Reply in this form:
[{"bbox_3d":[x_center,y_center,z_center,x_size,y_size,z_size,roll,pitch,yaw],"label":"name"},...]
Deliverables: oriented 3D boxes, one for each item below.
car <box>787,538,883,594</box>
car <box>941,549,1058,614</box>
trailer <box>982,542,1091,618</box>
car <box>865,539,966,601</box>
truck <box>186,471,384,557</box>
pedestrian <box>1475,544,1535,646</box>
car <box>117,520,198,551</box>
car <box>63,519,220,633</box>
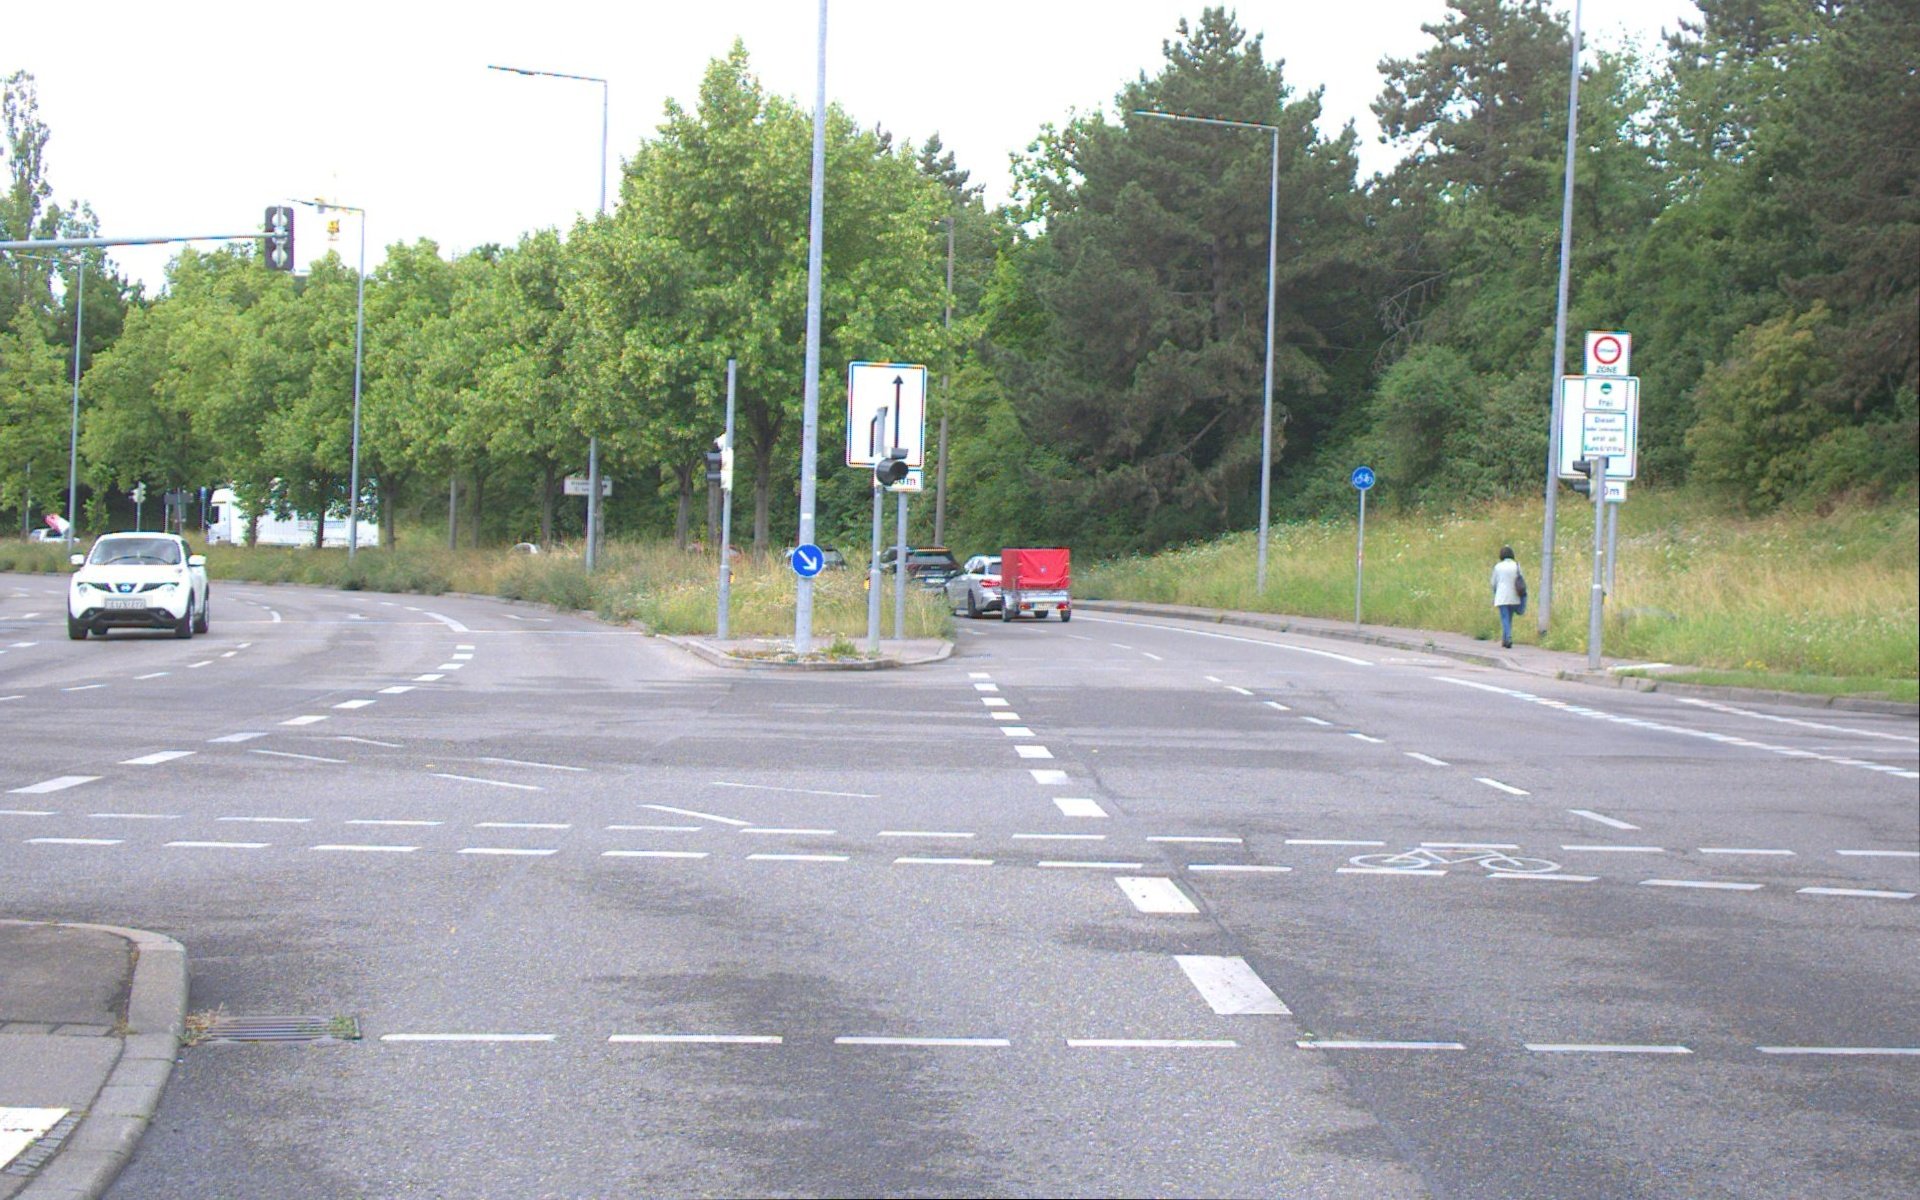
[{"bbox_3d":[-3.667,-1.004,99.948,1.777,1.541,4.026,0,1,-17],"label":"car"},{"bbox_3d":[0.885,-0.443,80.459,1.777,1.416,4.460,0,1,-12],"label":"car"},{"bbox_3d":[1.686,-0.461,76.794,1.764,1.610,3.045,0,1,-12],"label":"trailer"},{"bbox_3d":[-1.190,-0.789,90.075,1.777,1.541,4.026,0,1,-13],"label":"car"},{"bbox_3d":[-27.247,-3.464,138.200,2.740,3.317,11.403,0,2,-39],"label":"truck"},{"bbox_3d":[8.792,-0.083,55.476,0.814,1.622,0.791,1,1,-1],"label":"pedestrian"},{"bbox_3d":[-41.371,-3.325,177.338,1.781,1.541,4.018,1,1,30],"label":"car"},{"bbox_3d":[-12.213,-0.384,51.520,1.828,1.623,4.427,0,1,-8],"label":"car"}]
